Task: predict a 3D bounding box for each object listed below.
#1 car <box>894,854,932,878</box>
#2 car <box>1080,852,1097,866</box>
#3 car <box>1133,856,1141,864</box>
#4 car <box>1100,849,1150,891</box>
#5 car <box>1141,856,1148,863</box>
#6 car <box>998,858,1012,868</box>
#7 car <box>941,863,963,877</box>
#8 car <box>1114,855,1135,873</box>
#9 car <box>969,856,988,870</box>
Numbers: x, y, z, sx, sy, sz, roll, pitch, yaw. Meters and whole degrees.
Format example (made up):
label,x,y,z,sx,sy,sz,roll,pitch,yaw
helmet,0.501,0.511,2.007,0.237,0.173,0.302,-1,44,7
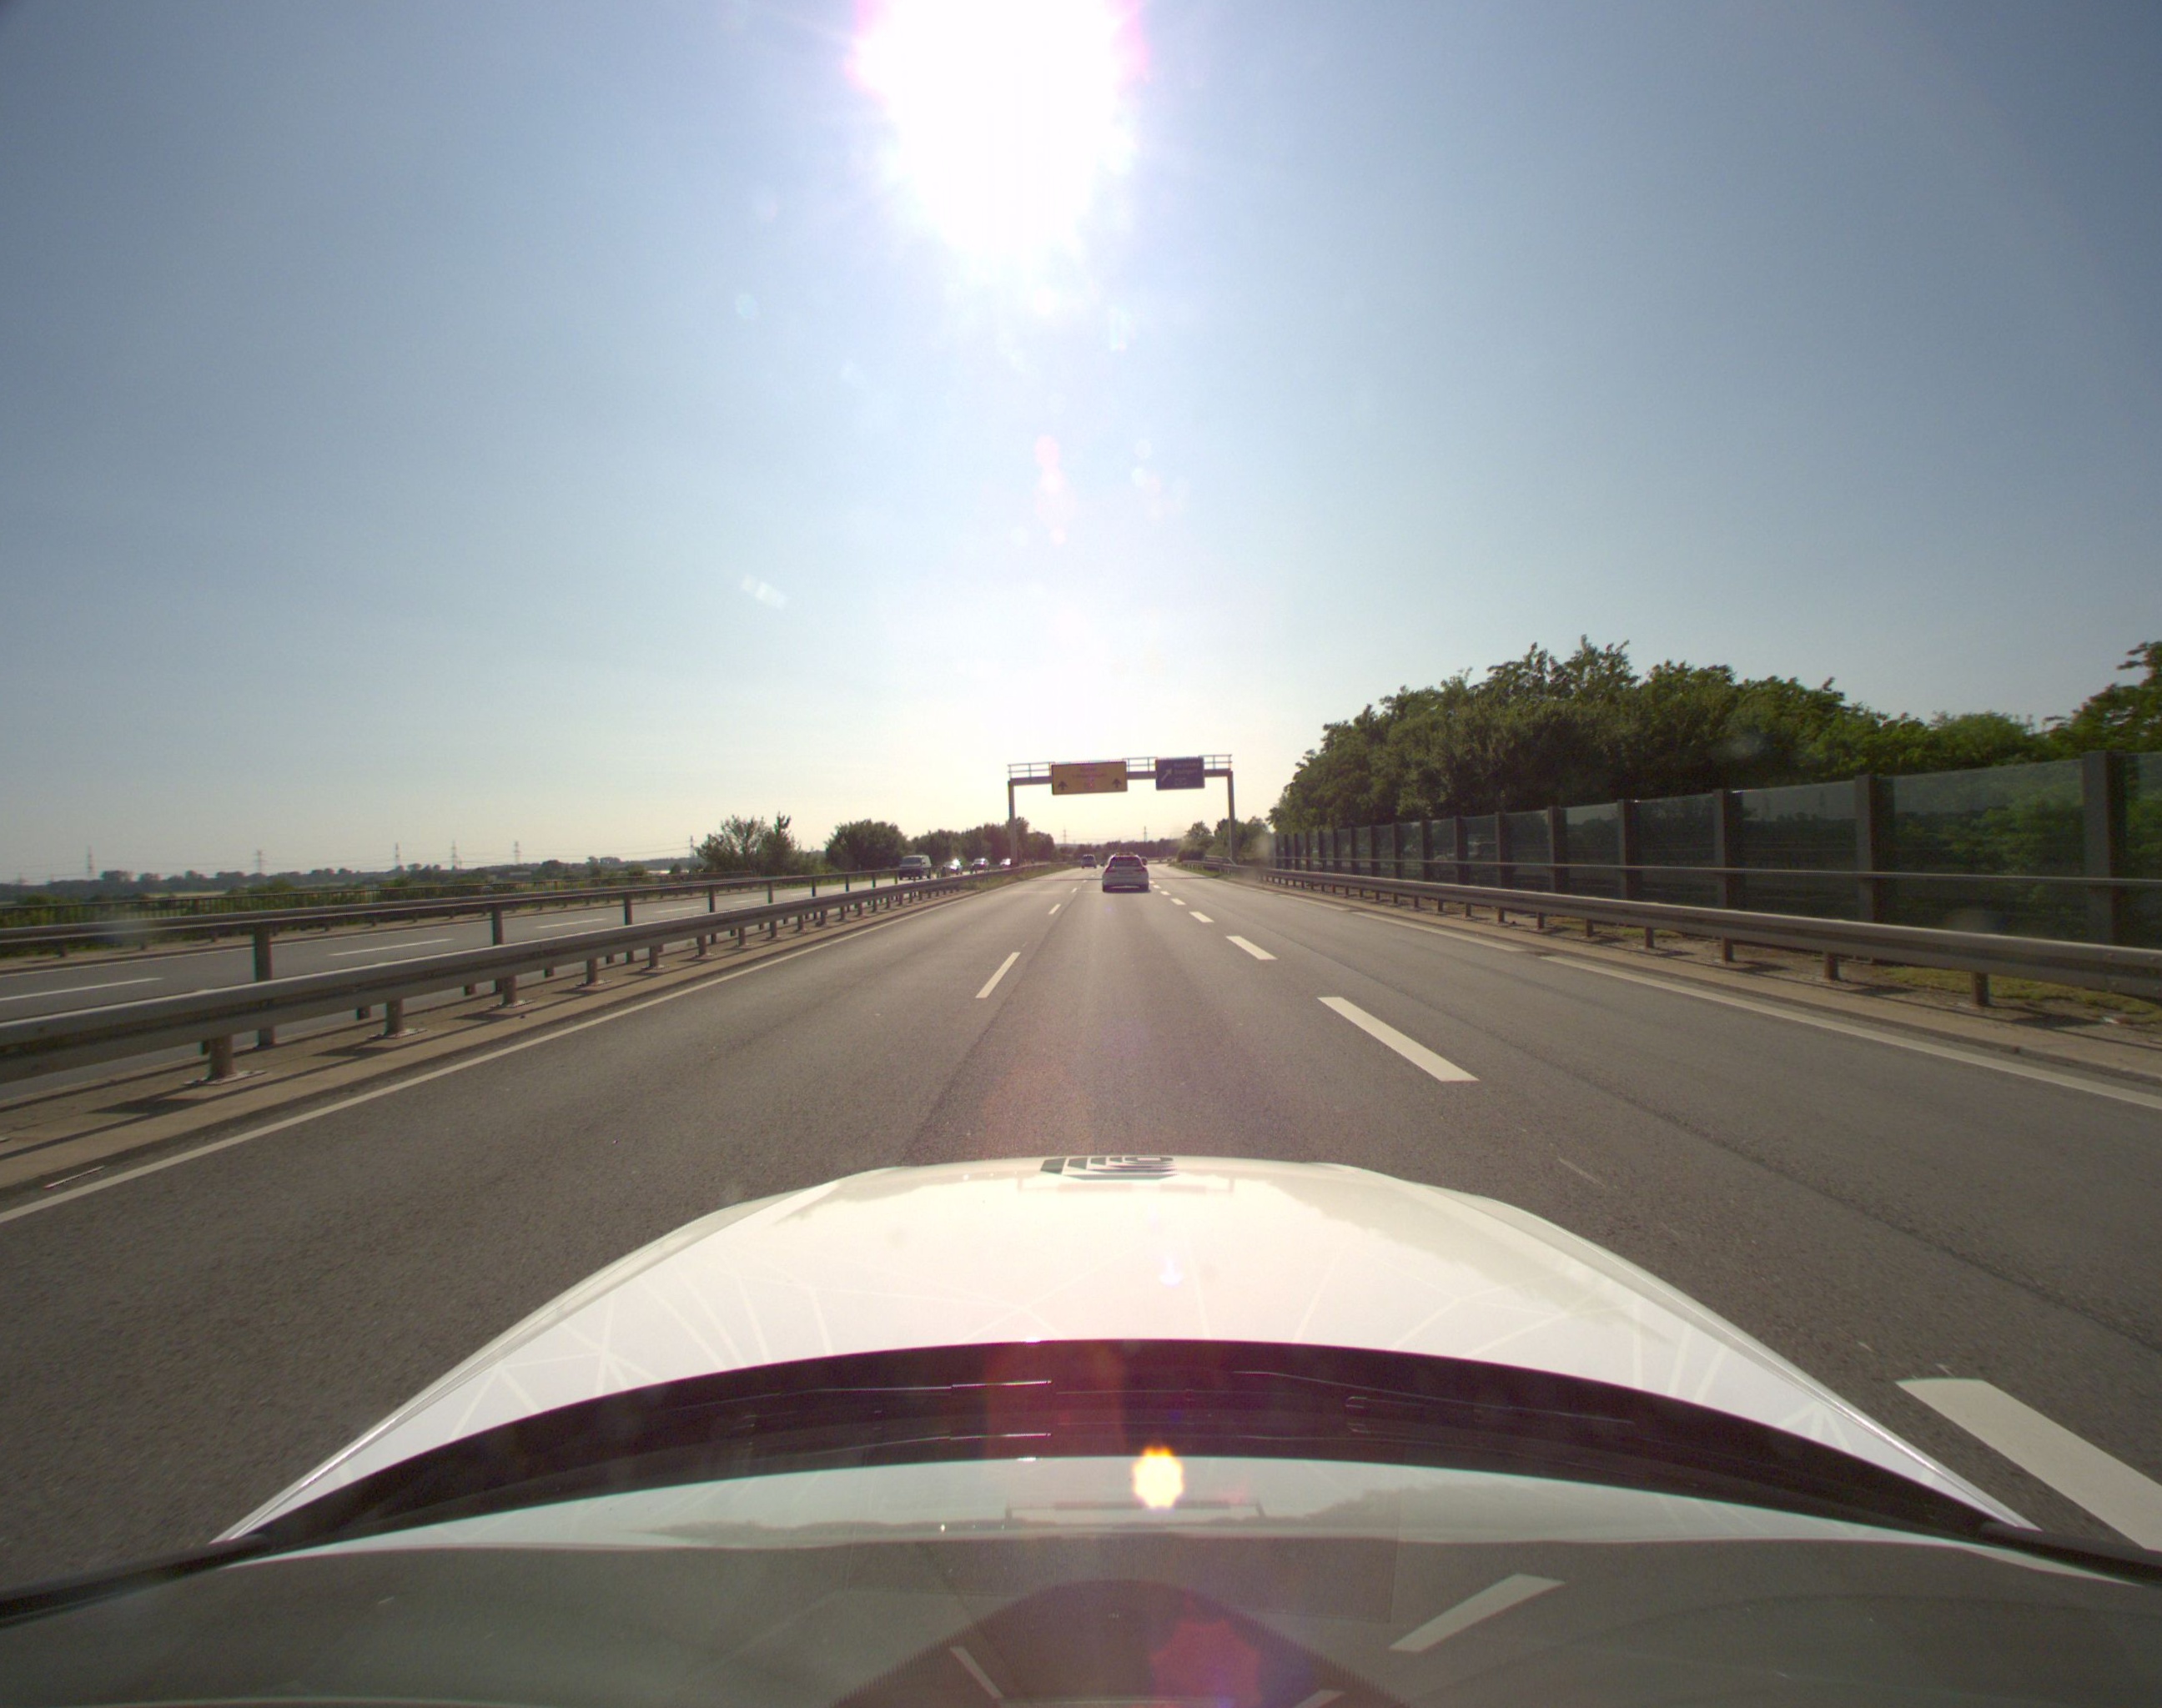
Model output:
label,x,y,z,sx,sy,sz,roll,pitch,yaw
car,-13.909,0.959,67.698,1.986,1.906,4.420,-2,0,2
car,0.861,0.559,92.835,1.787,1.503,4.043,-1,0,1
car,12.840,1.471,186.892,1.834,1.802,4.002,-1,-1,2
car,1.761,0.594,33.803,1.951,1.601,4.108,-1,0,1
car,16.653,1.490,213.268,1.834,1.698,4.002,-1,-1,2
car,-12.020,1.395,128.643,1.896,1.620,4.627,-1,0,-1
car,-13.016,1.568,82.423,1.561,1.270,3.716,-1,0,0
car,3.842,0.906,72.214,1.786,1.543,3.672,-1,0,1
car,-12.770,1.131,101.833,1.727,1.617,4.003,-1,0,0
